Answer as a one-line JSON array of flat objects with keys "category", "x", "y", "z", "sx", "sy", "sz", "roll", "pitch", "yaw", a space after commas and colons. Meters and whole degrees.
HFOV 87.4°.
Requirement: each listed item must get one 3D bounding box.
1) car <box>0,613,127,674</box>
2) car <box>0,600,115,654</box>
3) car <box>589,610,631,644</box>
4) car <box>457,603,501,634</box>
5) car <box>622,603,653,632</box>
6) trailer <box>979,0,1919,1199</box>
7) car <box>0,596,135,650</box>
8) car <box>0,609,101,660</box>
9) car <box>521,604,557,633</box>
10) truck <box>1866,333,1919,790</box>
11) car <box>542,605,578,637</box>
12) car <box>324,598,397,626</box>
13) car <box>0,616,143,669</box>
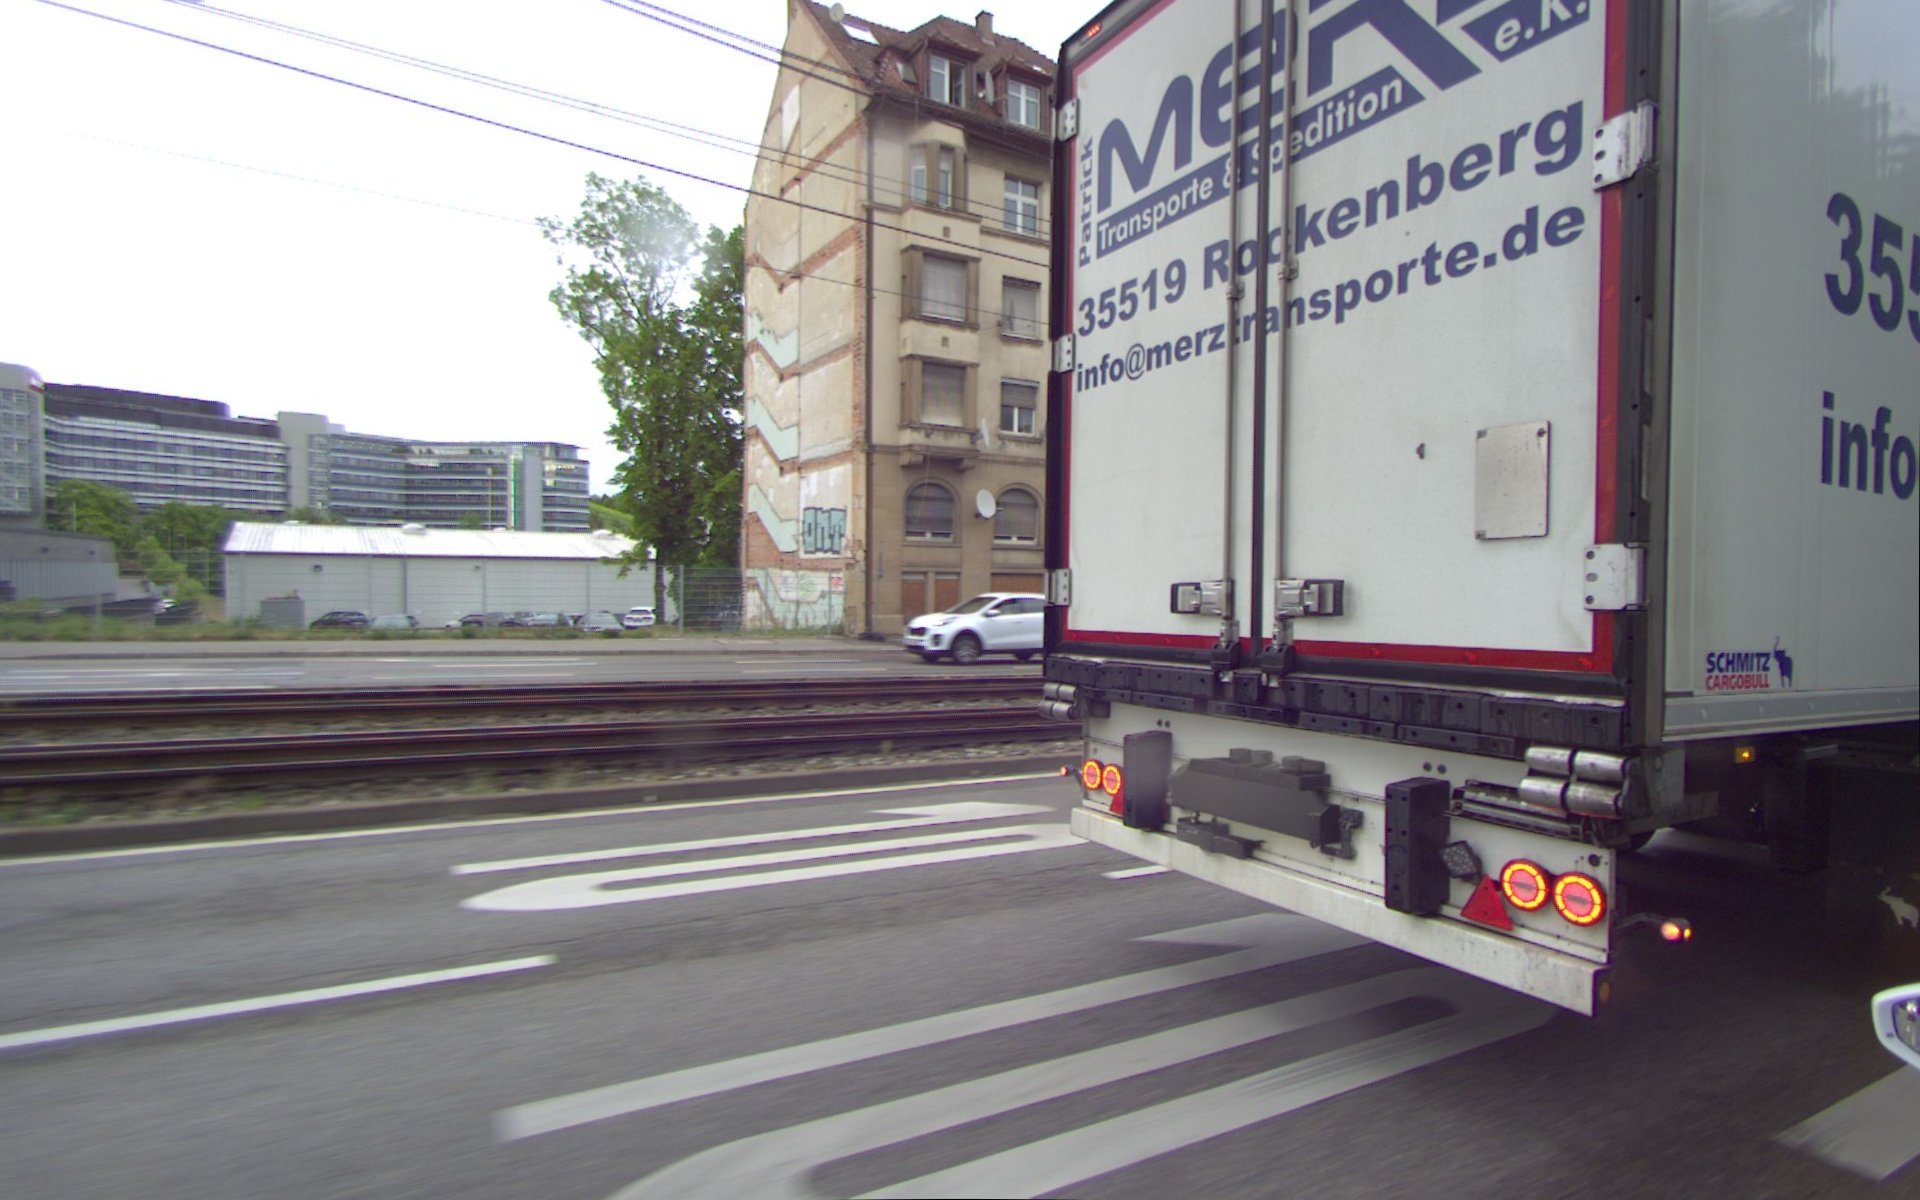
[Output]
[{"category": "car", "x": -23.368, "y": 1.082, "z": 25.219, "sx": 3.527, "sy": 1.455, "sz": 1.533, "roll": 2, "pitch": 0, "yaw": -30}, {"category": "car", "x": -28.668, "y": 0.829, "z": 30.922, "sx": 3.745, "sy": 1.564, "sz": 1.732, "roll": 2, "pitch": 0, "yaw": -30}, {"category": "car", "x": -17.238, "y": 1.296, "z": 49.450, "sx": 1.721, "sy": 1.533, "sz": 3.979, "roll": 2, "pitch": 0, "yaw": -22}, {"category": "car", "x": -27.020, "y": 1.018, "z": 56.557, "sx": 1.719, "sy": 1.676, "sz": 3.983, "roll": 2, "pitch": 0, "yaw": -19}, {"category": "car", "x": -20.265, "y": 1.071, "z": 63.073, "sx": 1.719, "sy": 1.676, "sz": 3.983, "roll": 2, "pitch": 0, "yaw": -19}, {"category": "trailer", "x": 6.403, "y": -0.449, "z": 6.737, "sx": 13.028, "sy": 4.309, "sz": 2.749, "roll": 1, "pitch": -1, "yaw": -30}, {"category": "car", "x": -30.304, "y": 0.771, "z": 33.573, "sx": 3.953, "sy": 1.676, "sz": 1.732, "roll": 2, "pitch": 0, "yaw": -30}, {"category": "car", "x": -27.030, "y": 0.969, "z": 28.669, "sx": 3.527, "sy": 1.400, "sz": 1.533, "roll": 2, "pitch": 0, "yaw": -30}, {"category": "car", "x": -26.404, "y": 1.146, "z": 63.041, "sx": 1.719, "sy": 1.676, "sz": 3.983, "roll": 2, "pitch": 0, "yaw": -18}, {"category": "truck", "x": 12.123, "y": -0.312, "z": 10.086, "sx": 6.232, "sy": 4.261, "sz": 2.743, "roll": 1, "pitch": -1, "yaw": -30}, {"category": "car", "x": -23.088, "y": 1.186, "z": 58.075, "sx": 1.719, "sy": 1.676, "sz": 3.983, "roll": 2, "pitch": 0, "yaw": -19}, {"category": "car", "x": -39.118, "y": 0.776, "z": 65.551, "sx": 3.958, "sy": 1.676, "sz": 1.730, "roll": 2, "pitch": 0, "yaw": -34}, {"category": "car", "x": -24.737, "y": 1.149, "z": 27.395, "sx": 3.527, "sy": 1.353, "sz": 1.610, "roll": 2, "pitch": 0, "yaw": -30}]
